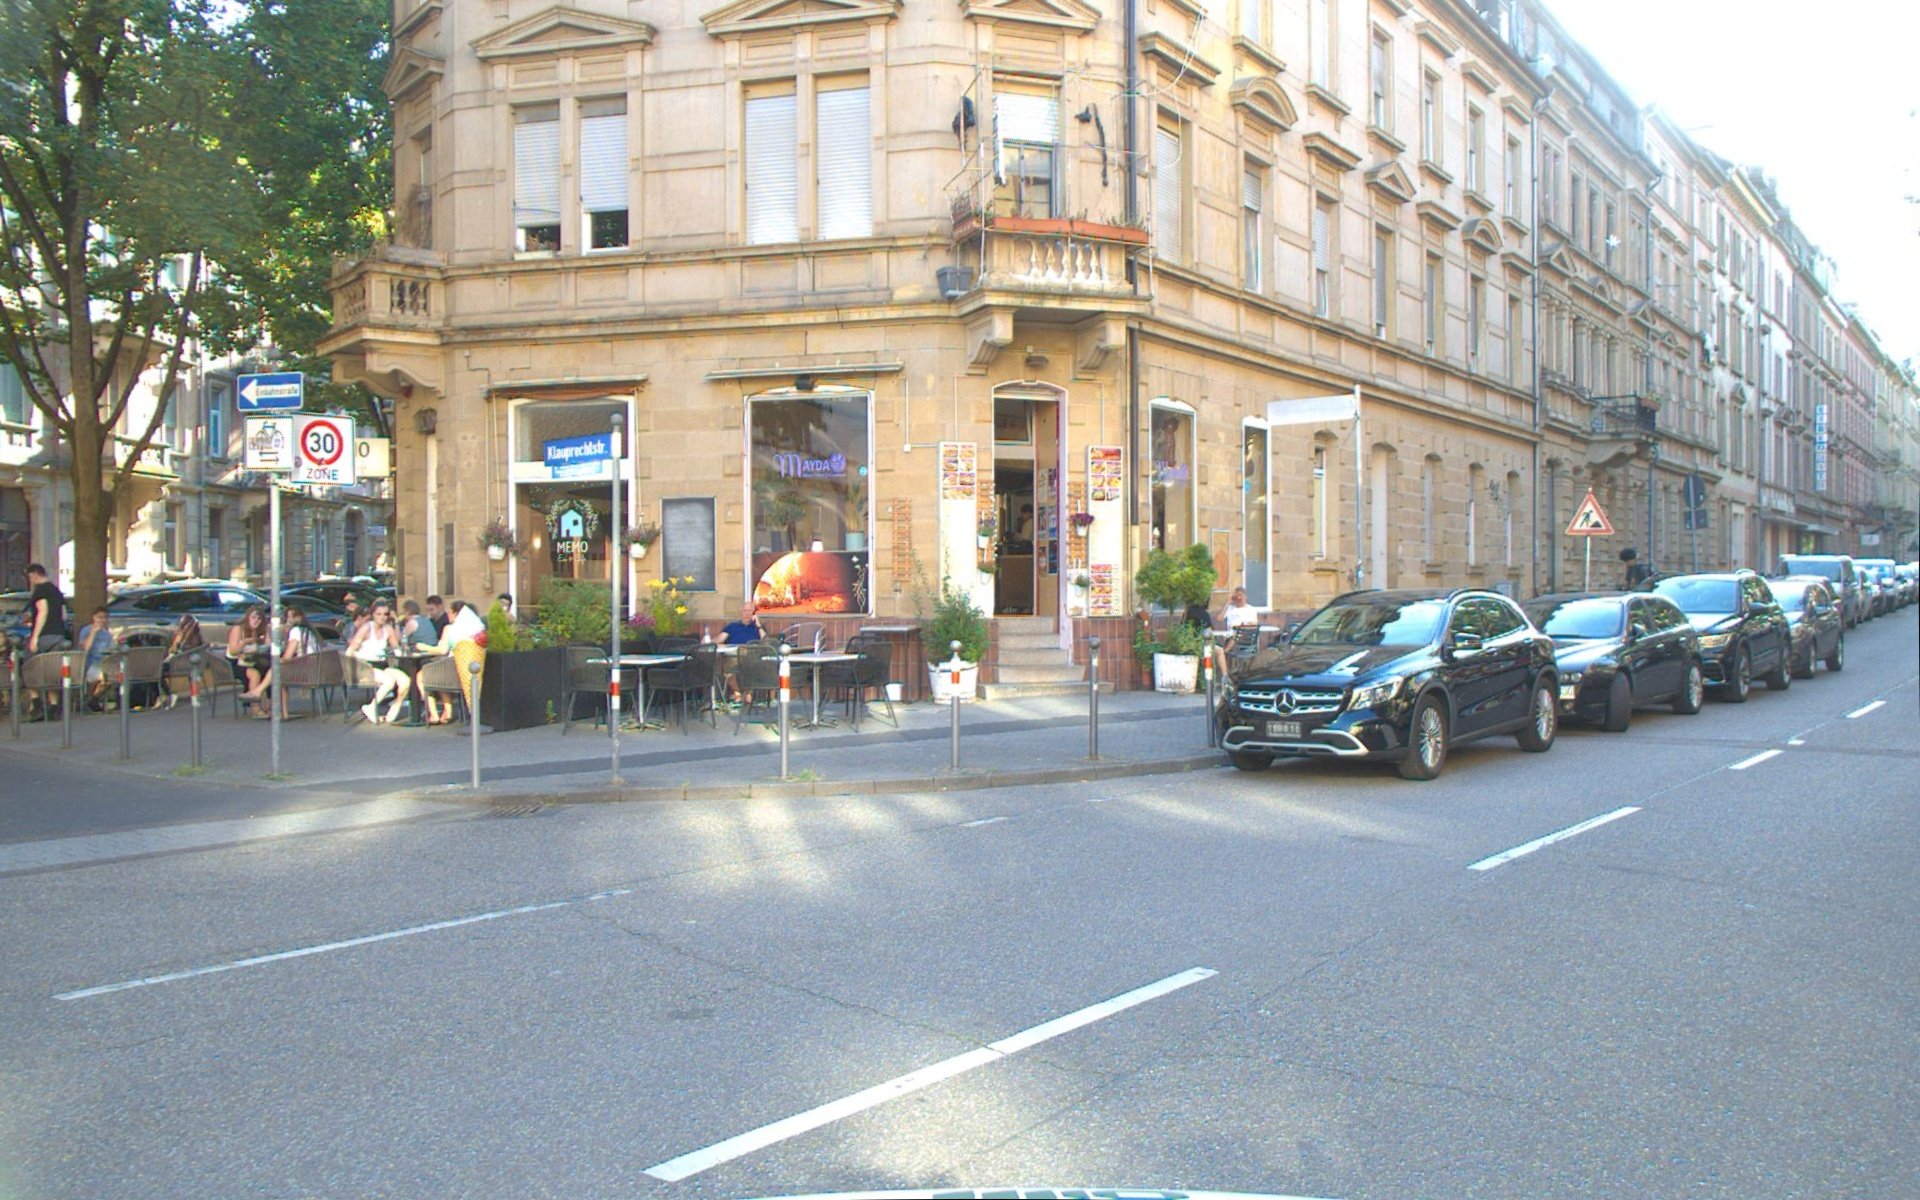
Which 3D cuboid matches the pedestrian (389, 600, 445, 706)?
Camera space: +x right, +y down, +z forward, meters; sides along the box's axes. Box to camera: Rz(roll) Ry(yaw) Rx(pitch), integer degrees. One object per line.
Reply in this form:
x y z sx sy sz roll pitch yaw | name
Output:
-6.679 0.643 20.338 0.472 1.270 0.433 0 1 32 | pedestrian

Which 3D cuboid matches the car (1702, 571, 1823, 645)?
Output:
17.938 0.153 36.889 1.729 1.527 4.045 -1 0 36 | car

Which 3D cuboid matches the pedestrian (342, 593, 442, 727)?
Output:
-6.245 0.645 18.212 0.739 1.435 0.727 -1 0 22 | pedestrian

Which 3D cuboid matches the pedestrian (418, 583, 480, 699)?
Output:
-6.542 0.514 21.186 0.556 1.456 0.482 -1 1 23 | pedestrian

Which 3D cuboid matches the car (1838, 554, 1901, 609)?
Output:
32.921 -0.700 59.800 1.727 1.874 4.518 -1 1 32 | car

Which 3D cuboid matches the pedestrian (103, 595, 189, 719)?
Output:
-10.045 0.692 20.413 0.761 1.467 0.657 -2 0 -44 | pedestrian

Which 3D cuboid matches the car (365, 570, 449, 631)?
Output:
-20.060 0.012 60.164 1.770 2.121 3.752 -1 0 0 | car

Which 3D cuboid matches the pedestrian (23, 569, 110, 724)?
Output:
-10.698 0.547 19.809 0.761 1.801 0.563 -2 0 -44 | pedestrian

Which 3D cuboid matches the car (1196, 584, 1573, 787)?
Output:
3.880 0.642 14.630 1.730 1.514 4.120 -1 0 38 | car

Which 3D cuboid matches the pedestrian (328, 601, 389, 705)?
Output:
-7.550 0.653 20.762 0.472 1.270 0.509 0 1 32 | pedestrian

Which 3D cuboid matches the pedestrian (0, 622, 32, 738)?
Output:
-11.410 0.945 19.611 0.496 1.343 0.568 0 1 44 | pedestrian

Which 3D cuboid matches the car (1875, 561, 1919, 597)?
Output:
41.602 -0.942 73.213 1.727 1.498 4.049 -1 1 32 | car

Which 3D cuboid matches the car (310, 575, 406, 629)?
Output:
-19.920 0.038 54.877 1.770 1.713 3.752 -1 0 0 | car

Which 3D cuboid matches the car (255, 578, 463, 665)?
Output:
-12.706 0.410 34.962 3.939 1.713 1.983 -1 0 -27 | car

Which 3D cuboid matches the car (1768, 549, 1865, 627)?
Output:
23.511 -0.379 45.317 1.800 1.977 5.245 1 2 33 | car

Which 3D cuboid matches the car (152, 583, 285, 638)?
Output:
-19.915 0.254 44.610 1.883 1.400 3.752 -1 0 0 | car

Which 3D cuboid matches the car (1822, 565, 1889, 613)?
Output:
30.231 -0.410 55.764 1.727 1.492 3.990 2 2 32 | car

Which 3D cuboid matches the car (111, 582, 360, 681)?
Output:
-12.595 0.499 28.793 3.786 1.589 1.784 -1 0 -32 | car

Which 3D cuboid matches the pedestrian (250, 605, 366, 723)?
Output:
-7.373 0.710 18.717 1.003 1.270 0.747 0 1 31 | pedestrian

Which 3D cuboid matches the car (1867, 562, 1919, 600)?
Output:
39.023 -0.798 69.098 1.727 1.498 4.049 -1 1 32 | car

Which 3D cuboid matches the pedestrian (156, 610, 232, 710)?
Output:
-9.853 0.764 21.276 0.657 1.237 0.673 -2 0 44 | pedestrian

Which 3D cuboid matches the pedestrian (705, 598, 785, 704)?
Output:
-2.571 0.605 19.836 0.710 1.235 0.757 -1 0 15 | pedestrian

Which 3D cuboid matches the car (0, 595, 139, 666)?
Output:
-19.460 0.615 35.393 1.883 1.400 3.752 -1 0 0 | car

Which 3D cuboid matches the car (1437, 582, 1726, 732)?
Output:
7.163 0.567 18.778 1.731 1.477 4.528 -1 0 39 | car

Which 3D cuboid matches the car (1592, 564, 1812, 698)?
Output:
10.291 0.359 22.752 1.730 1.628 4.530 -1 0 38 | car

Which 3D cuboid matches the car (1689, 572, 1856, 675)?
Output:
13.339 0.342 27.040 1.729 1.527 4.043 -1 0 37 | car

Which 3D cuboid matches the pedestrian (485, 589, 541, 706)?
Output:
-5.435 0.574 20.111 0.471 1.391 0.433 -1 1 26 | pedestrian

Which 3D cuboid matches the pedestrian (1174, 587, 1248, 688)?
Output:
3.267 0.475 21.513 0.712 1.281 0.755 0 0 32 | pedestrian

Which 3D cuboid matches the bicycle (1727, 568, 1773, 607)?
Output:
28.722 -0.492 60.068 1.023 1.341 3.989 0 2 33 | bicycle

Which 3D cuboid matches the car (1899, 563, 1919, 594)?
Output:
47.818 -1.079 82.272 1.727 1.498 4.049 -1 1 32 | car

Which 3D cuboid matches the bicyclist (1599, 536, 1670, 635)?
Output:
12.717 -0.260 31.160 0.979 1.821 1.202 0 -1 37 | bicyclist

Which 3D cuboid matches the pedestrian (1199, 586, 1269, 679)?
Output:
3.743 0.428 22.581 0.712 1.235 0.755 0 0 32 | pedestrian

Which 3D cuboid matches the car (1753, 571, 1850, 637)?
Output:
20.658 0.050 40.543 1.566 1.501 3.686 2 2 35 | car

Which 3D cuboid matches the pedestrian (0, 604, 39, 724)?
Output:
-11.790 0.782 20.231 0.761 1.437 0.658 -2 0 -42 | pedestrian

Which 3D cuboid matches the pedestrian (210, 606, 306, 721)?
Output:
-8.135 0.722 19.178 0.691 1.270 0.747 0 1 32 | pedestrian

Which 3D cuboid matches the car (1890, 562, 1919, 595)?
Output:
45.138 -1.048 78.345 1.727 1.498 4.049 -1 1 32 | car

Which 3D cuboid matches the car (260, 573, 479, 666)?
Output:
-11.522 0.344 32.545 3.924 1.713 1.991 -1 0 -17 | car

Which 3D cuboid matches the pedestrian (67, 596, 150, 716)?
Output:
-10.834 0.705 21.051 0.761 1.467 0.657 -2 0 -44 | pedestrian

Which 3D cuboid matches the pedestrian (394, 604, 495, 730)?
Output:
-5.538 0.702 17.789 0.728 1.312 0.742 -1 0 24 | pedestrian

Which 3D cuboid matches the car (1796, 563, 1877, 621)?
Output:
26.693 -0.290 50.303 1.723 1.636 4.371 2 2 34 | car
